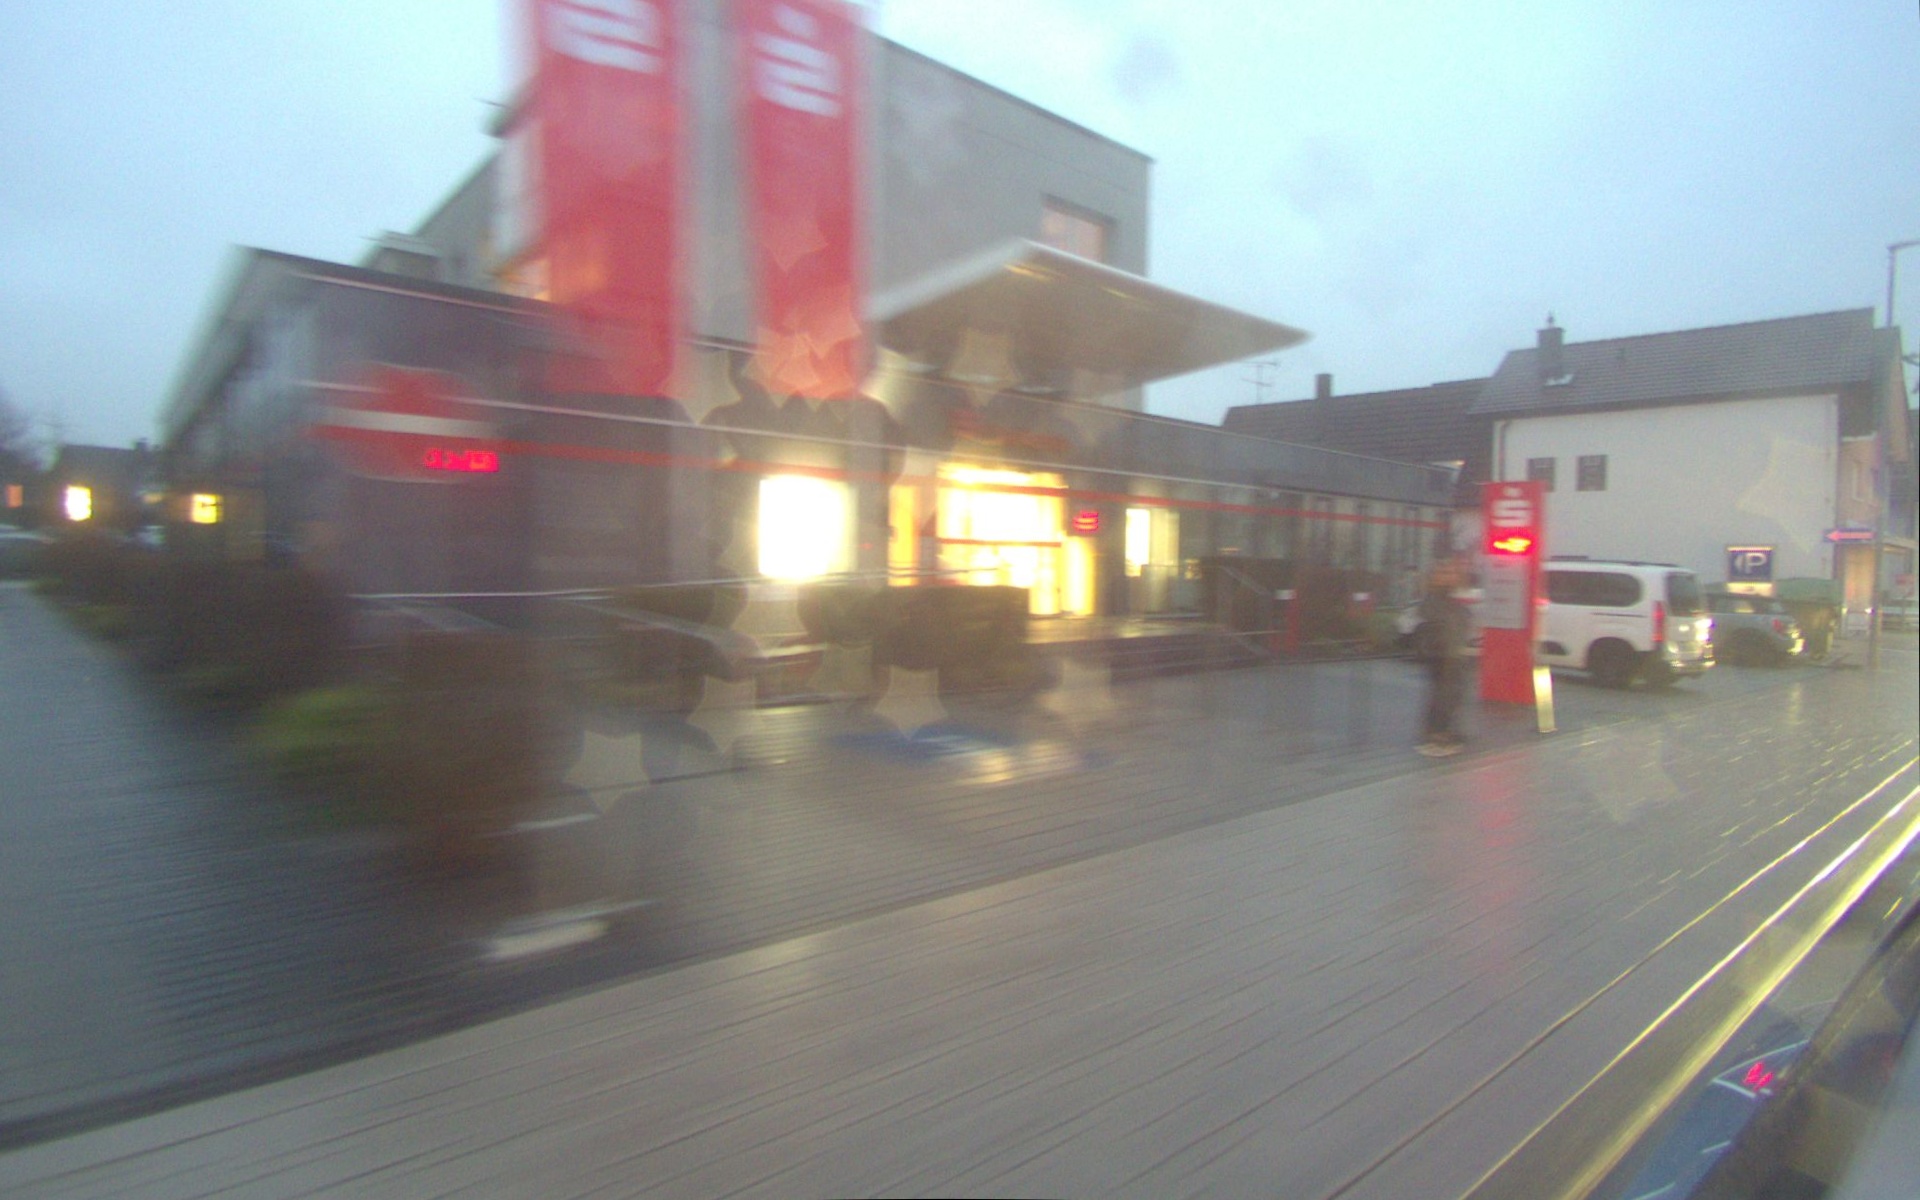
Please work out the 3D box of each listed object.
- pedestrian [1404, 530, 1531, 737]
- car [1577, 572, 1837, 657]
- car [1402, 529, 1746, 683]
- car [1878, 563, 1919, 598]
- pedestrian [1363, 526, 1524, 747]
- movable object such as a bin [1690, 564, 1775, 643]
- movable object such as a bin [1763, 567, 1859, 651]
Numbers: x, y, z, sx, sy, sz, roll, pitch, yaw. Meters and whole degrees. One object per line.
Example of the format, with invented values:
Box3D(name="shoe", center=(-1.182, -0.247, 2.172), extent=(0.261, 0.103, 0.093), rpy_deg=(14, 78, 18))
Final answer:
Box3D(name="pedestrian", center=(4.525, 0.261, 9.009), extent=(0.900, 1.726, 0.704), rpy_deg=(0, 3, -45))
Box3D(name="car", center=(15.444, 0.215, 21.102), extent=(1.878, 1.504, 3.997), rpy_deg=(-1, 3, -39))
Box3D(name="car", center=(9.454, -0.032, 15.919), extent=(1.961, 2.074, 4.108), rpy_deg=(0, 3, -33))
Box3D(name="car", center=(42.561, -0.868, 45.300), extent=(4.619, 1.504, 1.931), rpy_deg=(-1, 0, -44))
Box3D(name="pedestrian", center=(4.031, 0.267, 8.469), extent=(0.828, 1.726, 0.840), rpy_deg=(0, 2, -30))
Box3D(name="movable object such as a bin", center=(17.344, 0.062, 22.717), extent=(1.166, 1.664, 1.287), rpy_deg=(0, 3, -45))
Box3D(name="movable object such as a bin", center=(18.223, 0.170, 21.673), extent=(1.241, 1.664, 1.394), rpy_deg=(0, 3, -44))
